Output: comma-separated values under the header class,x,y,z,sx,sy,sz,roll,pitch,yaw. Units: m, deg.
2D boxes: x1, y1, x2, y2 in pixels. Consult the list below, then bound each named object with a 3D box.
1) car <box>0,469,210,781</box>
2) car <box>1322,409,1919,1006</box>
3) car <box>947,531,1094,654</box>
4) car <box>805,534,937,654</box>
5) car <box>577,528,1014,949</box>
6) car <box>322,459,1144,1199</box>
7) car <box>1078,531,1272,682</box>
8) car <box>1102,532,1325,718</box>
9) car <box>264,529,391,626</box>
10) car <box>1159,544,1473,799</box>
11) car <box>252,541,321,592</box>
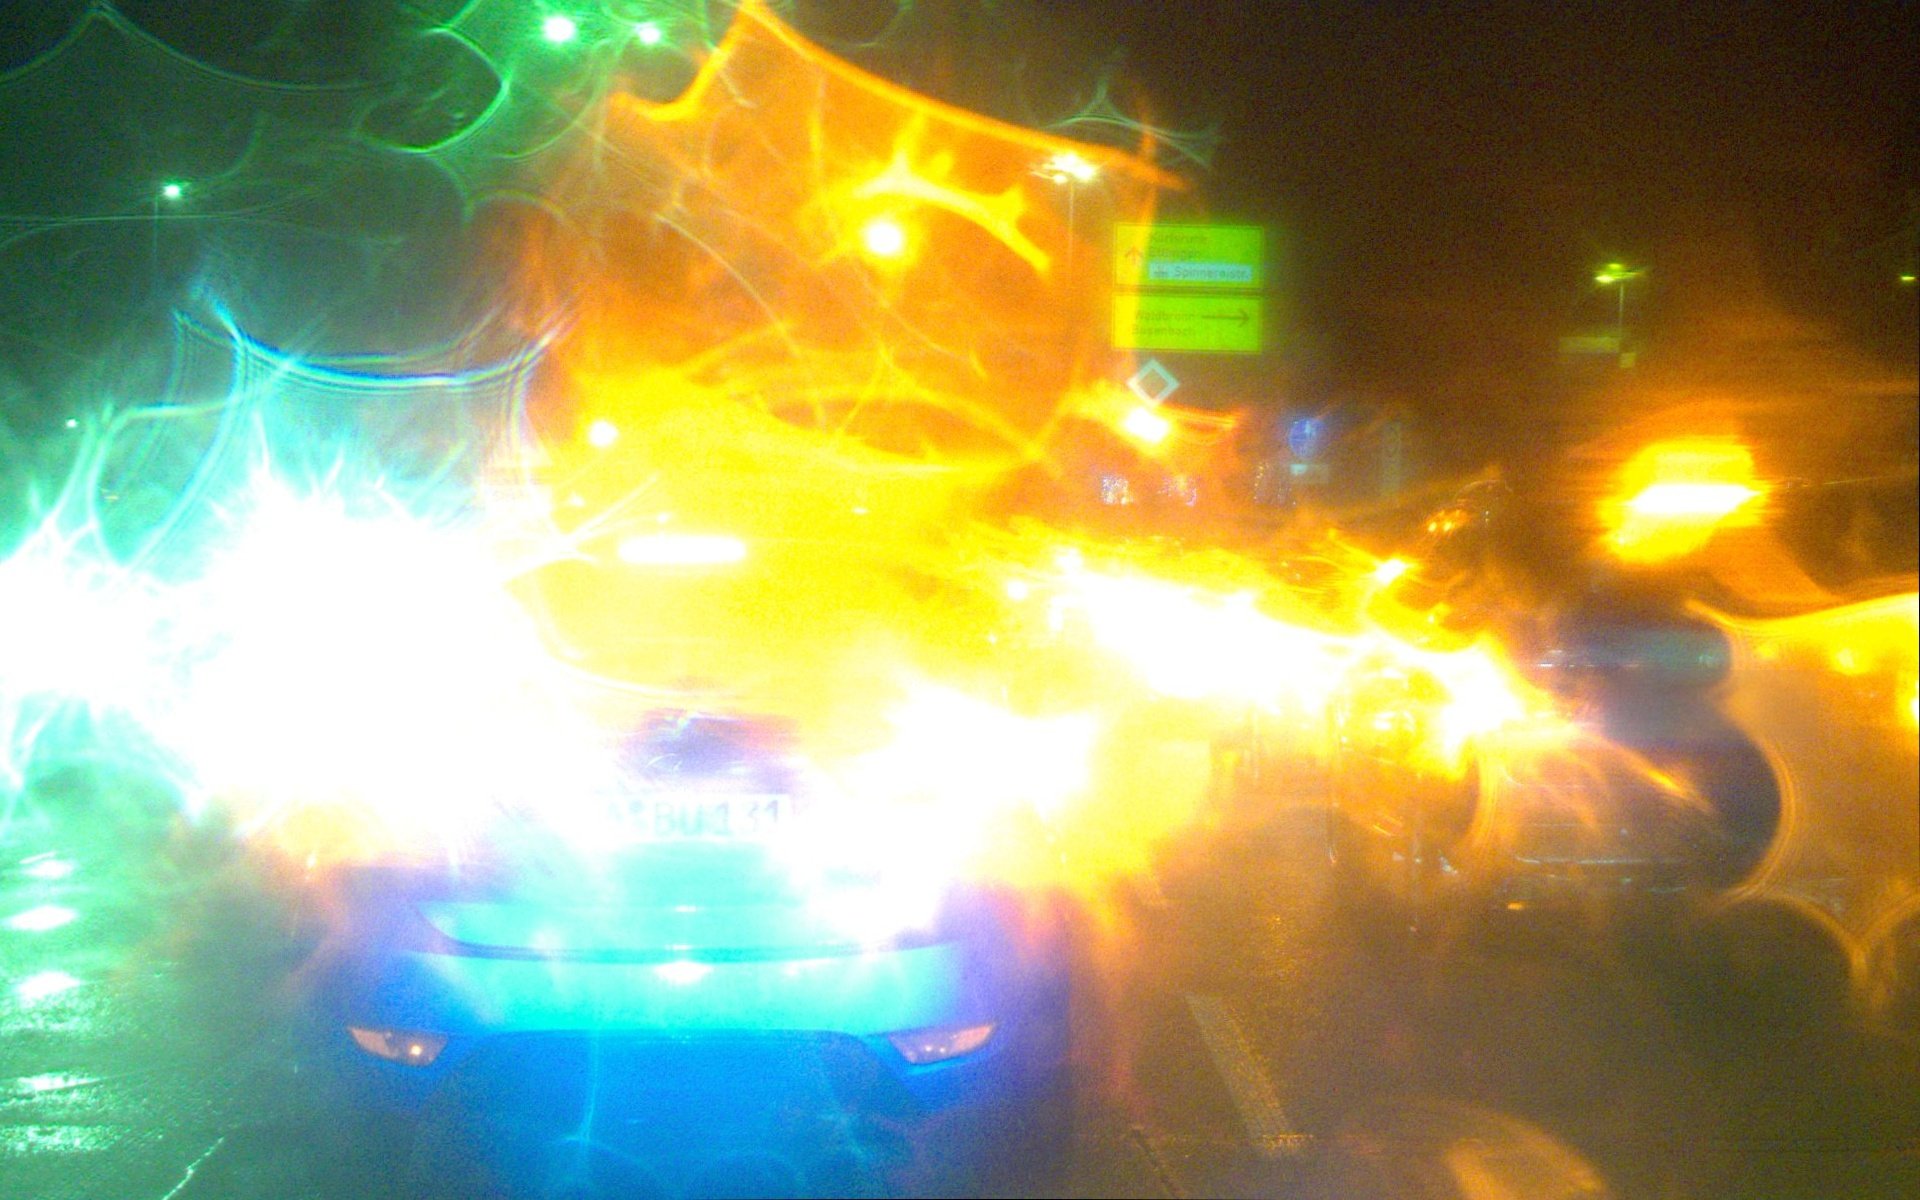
class,x,y,z,sx,sy,sz,roll,pitch,yaw
car,-6.502,0.106,23.350,1.993,1.905,4.743,0,1,-3
car,2.526,0.302,13.452,1.942,1.965,4.218,0,1,3
car,0.701,-0.106,42.429,1.663,1.445,4.050,0,0,-1
car,-1.322,-0.121,49.815,1.708,1.632,3.731,-1,1,-4
car,-0.660,0.515,15.580,1.708,1.632,3.731,-1,1,0
car,-0.493,0.507,9.079,1.694,1.624,3.853,1,1,-1
car,2.161,0.022,35.433,1.663,1.445,4.050,0,1,-1
car,2.065,0.182,28.937,1.663,1.445,4.050,0,0,1
car,-9.884,-0.375,53.920,1.719,1.437,3.740,0,1,-7
car,2.193,0.379,22.122,1.768,1.445,4.218,0,1,3
car,-19.805,-0.997,101.197,1.719,1.437,3.740,0,1,-7
